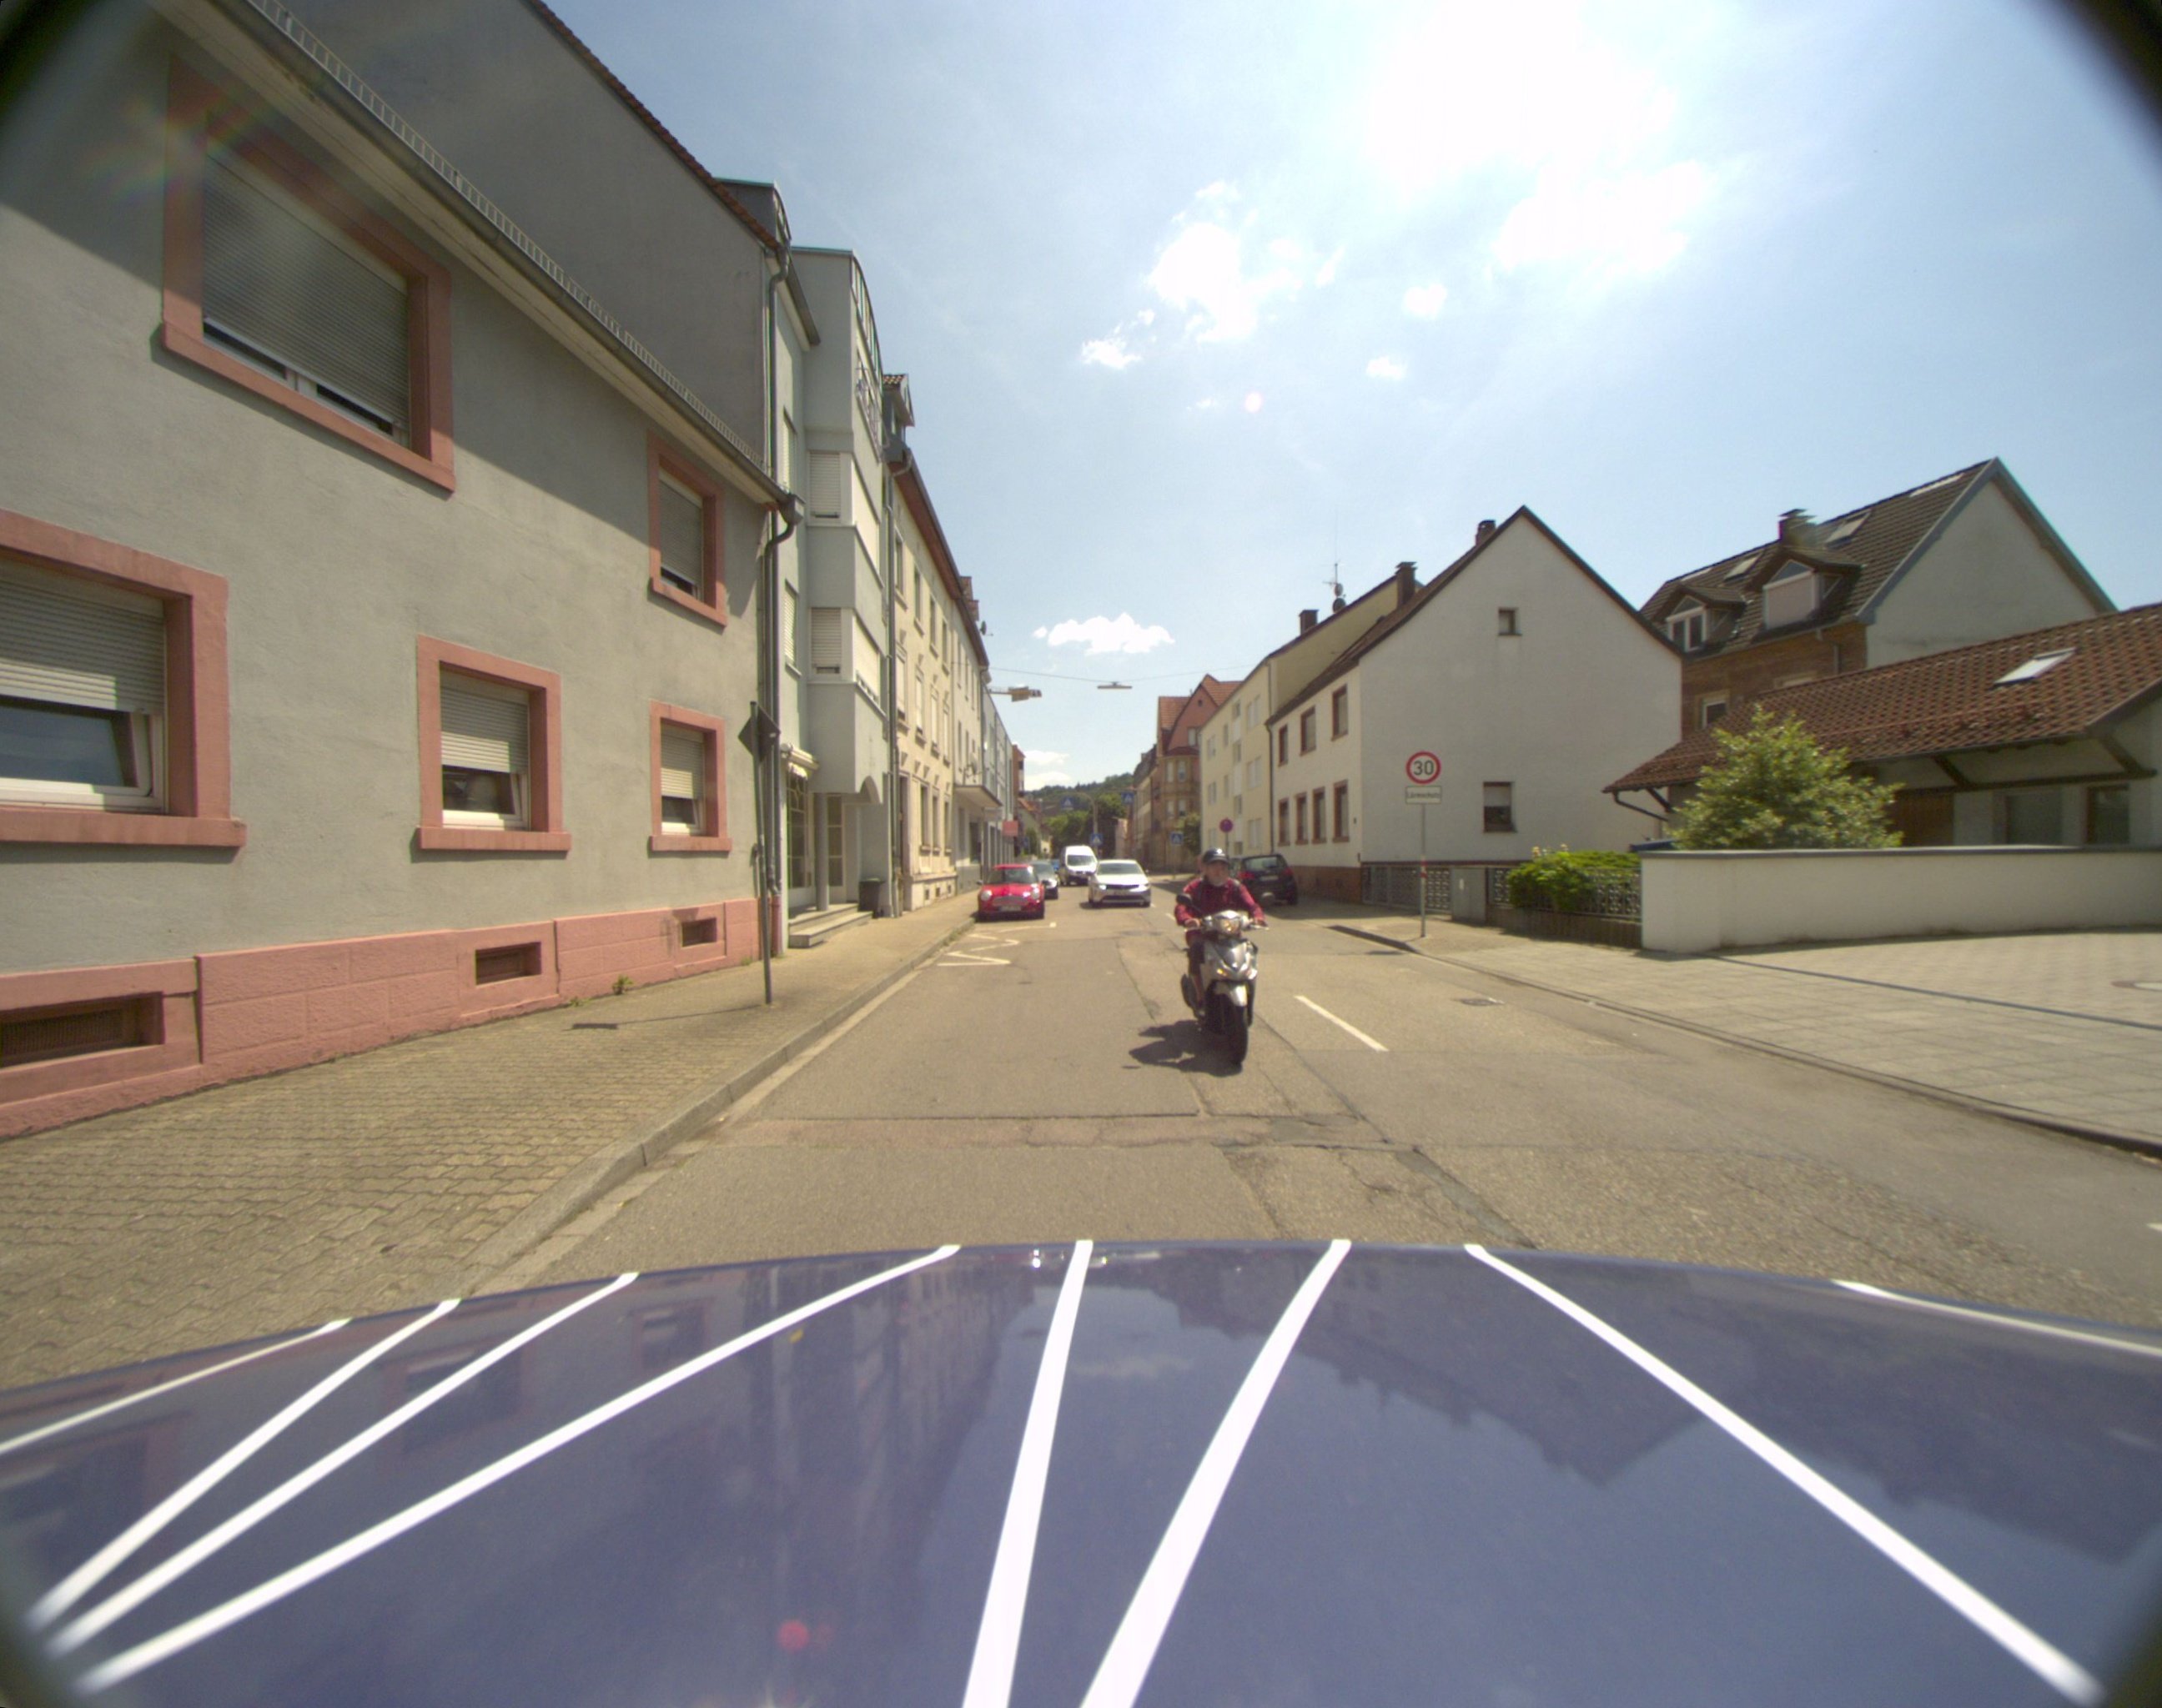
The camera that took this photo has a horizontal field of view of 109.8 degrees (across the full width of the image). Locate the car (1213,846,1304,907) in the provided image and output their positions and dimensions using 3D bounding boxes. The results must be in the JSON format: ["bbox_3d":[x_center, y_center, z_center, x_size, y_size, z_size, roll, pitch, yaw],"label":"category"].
[{"bbox_3d":[5.326,0.624,23.293,1.799,1.637,3.944,-2,0,0],"label":"car"}]

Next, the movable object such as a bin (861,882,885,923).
[{"bbox_3d":[-4.866,1.123,17.770,0.474,0.929,0.487,0,1,-8],"label":"movable object such as a bin"}]

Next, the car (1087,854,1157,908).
[{"bbox_3d":[1.196,0.793,24.009,1.812,1.512,3.999,-1,0,-2],"label":"car"}]

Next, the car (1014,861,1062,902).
[{"bbox_3d":[-1.656,1.020,30.021,1.734,1.412,4.543,-1,0,-3],"label":"car"}]

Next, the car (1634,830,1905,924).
[{"bbox_3d":[12.657,0.417,14.195,3.554,1.530,1.641,-3,0,43],"label":"car"}]

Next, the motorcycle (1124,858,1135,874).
[{"bbox_3d":[3.642,0.901,57.362,0.689,1.116,2.028,-1,0,1],"label":"motorcycle"}]

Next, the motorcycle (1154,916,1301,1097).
[{"bbox_3d":[1.080,1.104,6.097,0.760,1.049,1.992,-2,0,0],"label":"motorcycle"}]

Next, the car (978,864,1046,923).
[{"bbox_3d":[-1.774,0.993,20.362,1.623,1.377,3.537,-1,0,-3],"label":"car"}]

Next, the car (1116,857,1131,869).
[{"bbox_3d":[5.176,1.079,93.730,1.602,1.433,3.495,0,0,-1],"label":"car"}]

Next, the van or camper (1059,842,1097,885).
[{"bbox_3d":[-0.203,0.535,43.121,1.999,2.273,5.144,-1,0,-1],"label":"van or camper"}]

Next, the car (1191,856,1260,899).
[{"bbox_3d":[5.292,0.816,28.378,1.838,1.408,4.290,-1,0,2],"label":"car"}]

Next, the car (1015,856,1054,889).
[{"bbox_3d":[-2.221,0.855,37.258,1.714,1.499,3.999,-1,0,-1],"label":"car"}]

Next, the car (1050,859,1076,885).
[{"bbox_3d":[-1.521,1.537,66.181,1.998,2.002,4.000,-3,0,1],"label":"car"}]

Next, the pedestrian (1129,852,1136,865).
[{"bbox_3d":[7.140,0.634,105.720,0.770,1.761,0.763,-3,0,-1],"label":"pedestrian"}]

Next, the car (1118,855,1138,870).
[{"bbox_3d":[4.552,0.805,73.744,1.787,1.449,4.634,0,0,1],"label":"car"}]

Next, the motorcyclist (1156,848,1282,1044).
[{"bbox_3d":[1.077,0.689,6.161,0.793,1.431,1.020,-2,0,0],"label":"motorcyclist"}]
